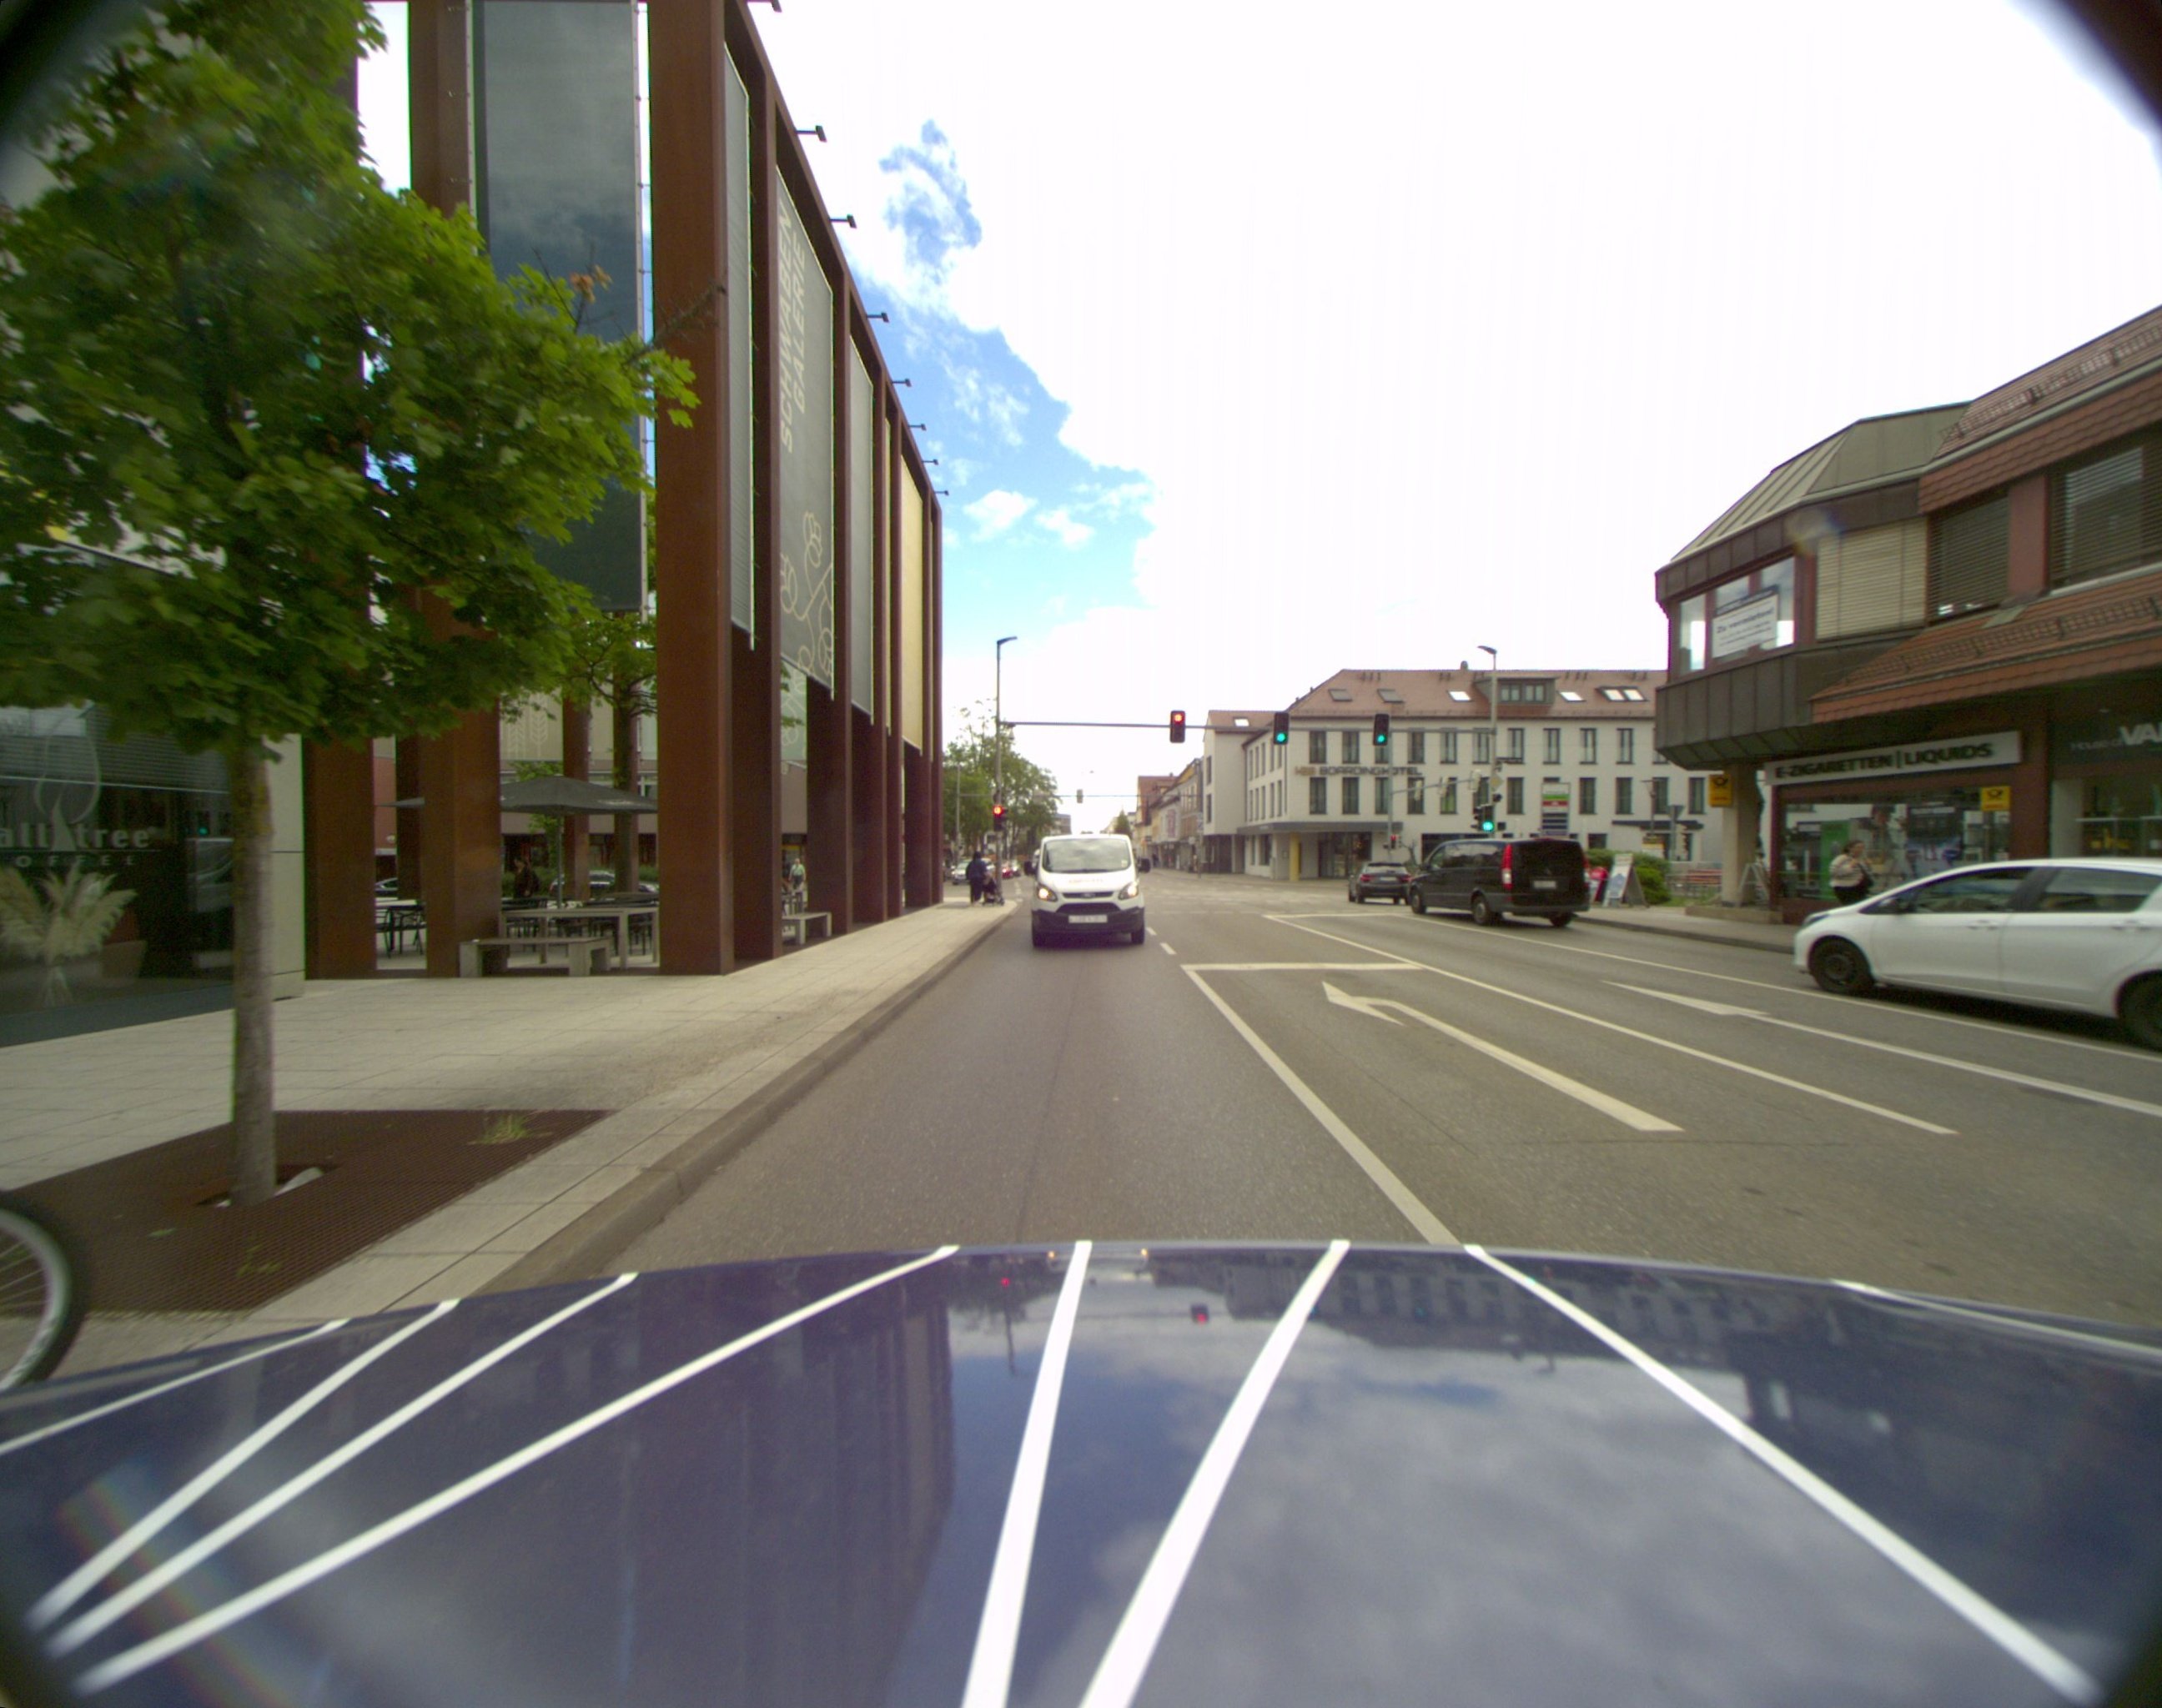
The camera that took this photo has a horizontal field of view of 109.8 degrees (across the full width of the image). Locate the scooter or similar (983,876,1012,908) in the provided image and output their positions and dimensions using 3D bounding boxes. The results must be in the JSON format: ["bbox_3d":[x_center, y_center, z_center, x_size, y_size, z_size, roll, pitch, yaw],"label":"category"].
[{"bbox_3d":[-2.587,1.173,23.602,0.633,0.956,0.622,0,1,34],"label":"scooter or similar"}]

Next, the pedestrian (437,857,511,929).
[{"bbox_3d":[-14.454,0.904,18.128,0.881,1.671,1.120,0,1,-3],"label":"pedestrian"}]

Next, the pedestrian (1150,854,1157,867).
[{"bbox_3d":[8.860,0.817,93.000,0.812,1.574,0.920,-1,1,1],"label":"pedestrian"}]

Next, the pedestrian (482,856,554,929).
[{"bbox_3d":[-13.322,0.884,18.021,0.881,1.671,1.120,0,1,-3],"label":"pedestrian"}]

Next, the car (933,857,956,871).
[{"bbox_3d":[-15.704,1.157,87.770,1.999,1.538,4.752,1,1,-3],"label":"car"}]

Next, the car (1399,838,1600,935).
[{"bbox_3d":[9.380,0.639,17.638,1.870,1.898,5.113,1,0,1],"label":"car"}]

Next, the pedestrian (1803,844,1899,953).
[{"bbox_3d":[12.268,0.684,12.127,0.751,1.683,0.777,0,0,-4],"label":"pedestrian"}]

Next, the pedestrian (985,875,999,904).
[{"bbox_3d":[-2.853,1.137,24.313,0.362,0.918,0.454,-1,0,2],"label":"pedestrian"}]

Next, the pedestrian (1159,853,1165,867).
[{"bbox_3d":[10.177,0.763,95.681,0.708,1.771,0.870,0,1,2],"label":"pedestrian"}]

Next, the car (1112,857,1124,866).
[{"bbox_3d":[5.883,1.139,122.676,1.748,1.450,4.235,0,0,0],"label":"car"}]

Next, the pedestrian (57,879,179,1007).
[{"bbox_3d":[-11.489,1.043,9.083,0.647,1.460,0.606,0,1,1],"label":"pedestrian"}]

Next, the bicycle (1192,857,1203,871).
[{"bbox_3d":[10.415,0.903,67.978,0.583,1.225,2.119,-1,0,-1],"label":"bicycle"}]

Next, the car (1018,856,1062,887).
[{"bbox_3d":[-2.115,0.875,40.022,1.998,1.489,4.000,0,0,1],"label":"car"}]

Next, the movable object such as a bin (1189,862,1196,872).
[{"bbox_3d":[10.324,1.179,70.588,0.552,0.894,0.507,-1,0,-1],"label":"movable object such as a bin"}]

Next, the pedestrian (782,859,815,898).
[{"bbox_3d":[-12.608,1.100,33.990,1.058,1.705,1.110,0,1,-1],"label":"pedestrian"}]

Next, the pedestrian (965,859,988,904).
[{"bbox_3d":[-3.344,0.878,24.322,0.602,1.412,0.582,-1,0,2],"label":"pedestrian"}]

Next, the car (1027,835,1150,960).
[{"bbox_3d":[0.136,0.712,15.276,1.940,1.968,5.779,-2,0,0],"label":"car"}]

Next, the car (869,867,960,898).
[{"bbox_3d":[-9.671,1.631,44.450,4.871,1.600,1.852,-2,0,-44],"label":"car"}]

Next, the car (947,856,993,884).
[{"bbox_3d":[-7.250,1.021,49.889,1.743,1.691,4.383,-2,0,8],"label":"car"}]

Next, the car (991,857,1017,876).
[{"bbox_3d":[-6.174,0.984,61.001,1.630,1.440,3.642,-2,0,0],"label":"car"}]

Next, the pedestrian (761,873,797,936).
[{"bbox_3d":[-5.988,0.992,15.085,0.448,1.213,0.606,0,1,3],"label":"pedestrian"}]

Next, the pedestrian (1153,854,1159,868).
[{"bbox_3d":[9.439,0.890,95.808,0.708,1.828,1.028,0,1,2],"label":"pedestrian"}]

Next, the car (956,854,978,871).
[{"bbox_3d":[-13.121,0.935,87.736,1.999,1.865,4.752,1,1,-2],"label":"car"}]

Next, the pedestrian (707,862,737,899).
[{"bbox_3d":[-15.724,1.161,33.309,0.832,1.575,1.058,-1,1,-1],"label":"pedestrian"}]

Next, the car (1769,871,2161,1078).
[{"bbox_3d":[8.893,0.943,6.906,1.664,1.457,4.000,1,0,1],"label":"car"}]

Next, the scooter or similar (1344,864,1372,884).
[{"bbox_3d":[17.273,1.241,47.397,0.427,1.152,1.569,-1,3,-41],"label":"scooter or similar"}]

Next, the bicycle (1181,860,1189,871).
[{"bbox_3d":[10.200,1.100,74.677,0.573,1.094,1.902,-1,0,1],"label":"bicycle"}]

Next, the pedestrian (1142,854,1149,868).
[{"bbox_3d":[7.921,0.879,92.939,0.812,1.651,0.920,-1,1,1],"label":"pedestrian"}]

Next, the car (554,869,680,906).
[{"bbox_3d":[-19.596,1.405,32.245,4.184,1.396,1.800,-1,0,-2],"label":"car"}]

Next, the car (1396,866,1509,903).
[{"bbox_3d":[16.019,1.300,32.797,4.390,1.508,1.761,1,0,-18],"label":"car"}]

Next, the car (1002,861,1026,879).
[{"bbox_3d":[-6.004,1.395,68.212,1.802,1.521,3.999,-2,0,-2],"label":"car"}]

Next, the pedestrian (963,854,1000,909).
[{"bbox_3d":[-3.026,0.812,23.067,0.870,1.637,0.682,0,0,34],"label":"pedestrian"}]

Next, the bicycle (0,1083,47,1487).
[{"bbox_3d":[-3.502,1.092,1.645,1.564,0.986,0.752,0,0,3],"label":"bicycle"}]

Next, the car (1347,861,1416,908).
[{"bbox_3d":[10.196,0.994,26.055,1.704,1.434,4.004,0,0,14],"label":"car"}]
